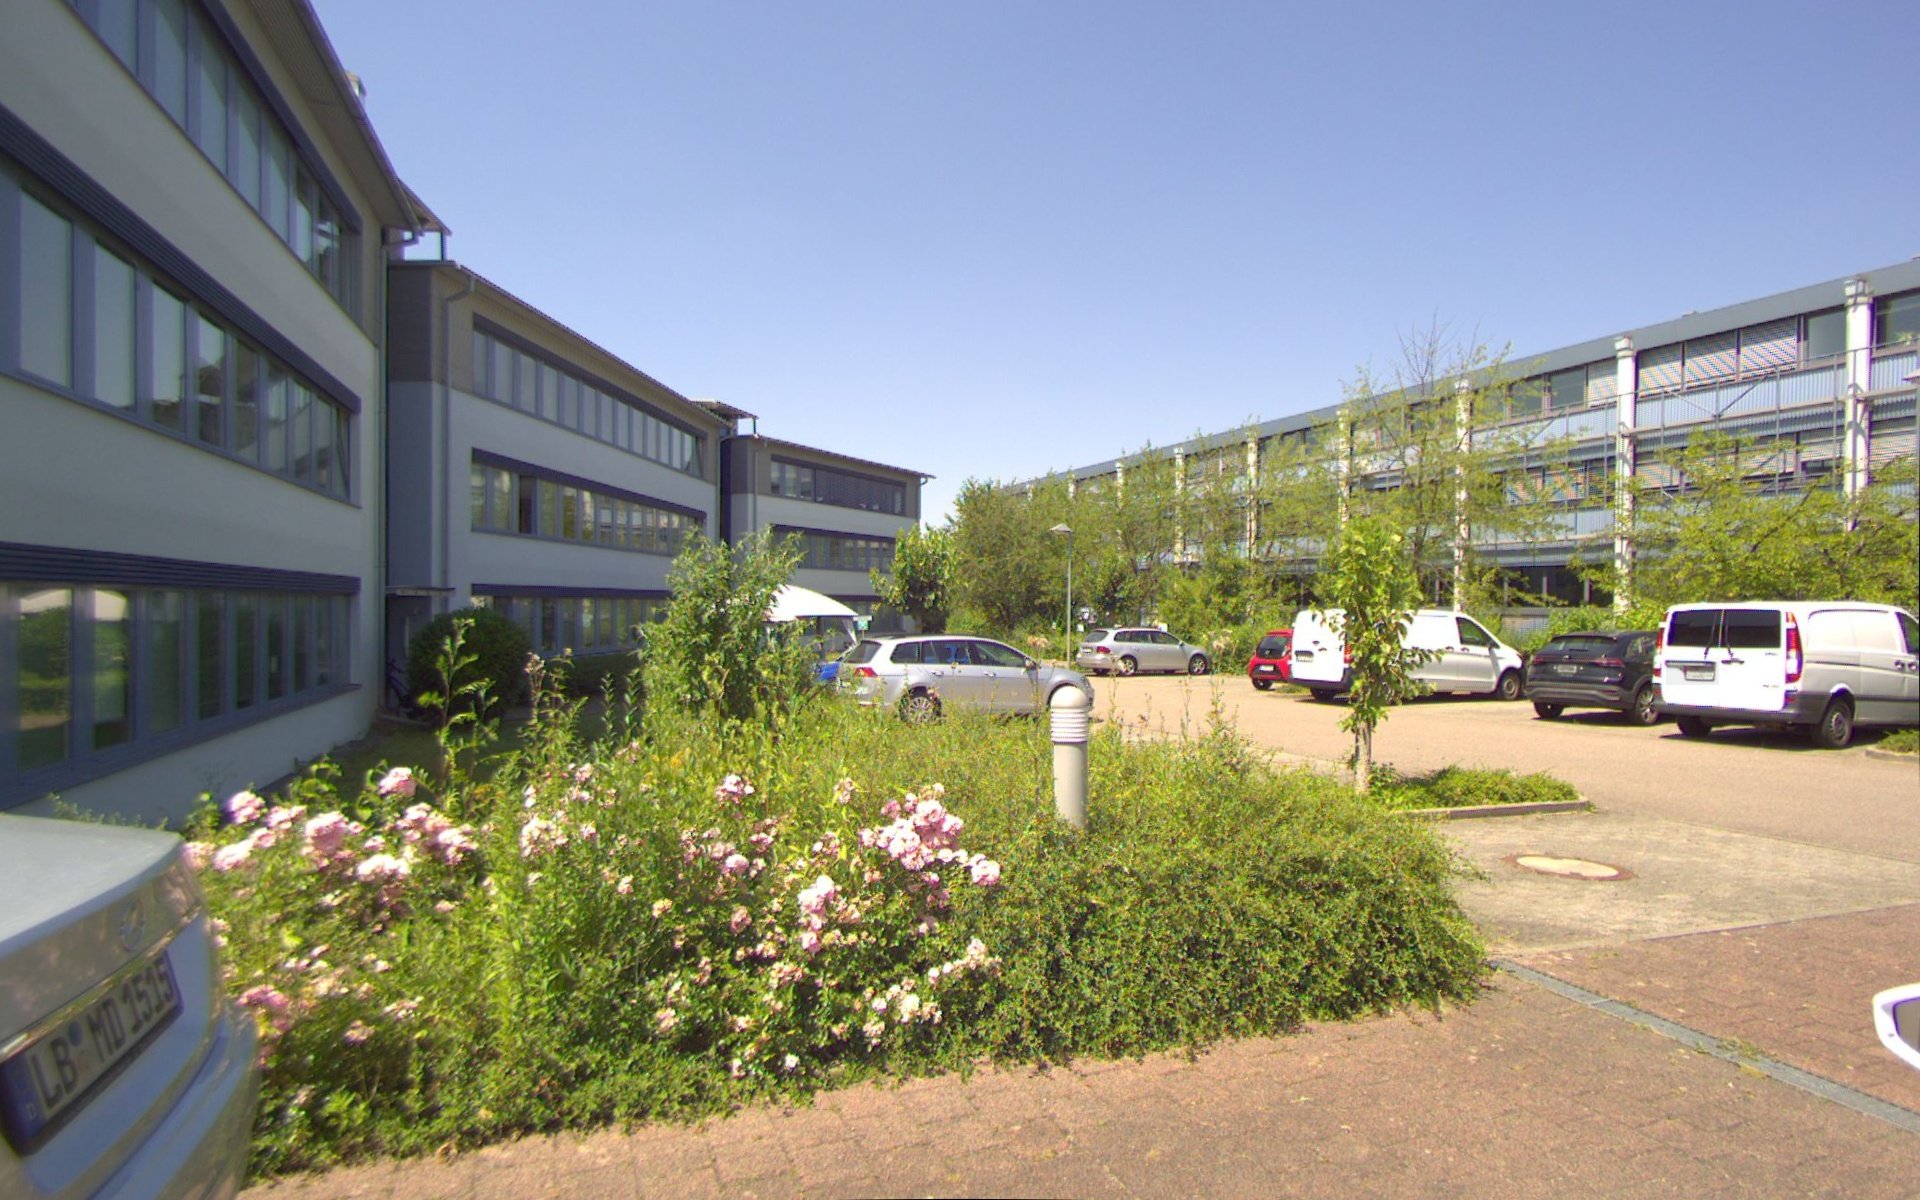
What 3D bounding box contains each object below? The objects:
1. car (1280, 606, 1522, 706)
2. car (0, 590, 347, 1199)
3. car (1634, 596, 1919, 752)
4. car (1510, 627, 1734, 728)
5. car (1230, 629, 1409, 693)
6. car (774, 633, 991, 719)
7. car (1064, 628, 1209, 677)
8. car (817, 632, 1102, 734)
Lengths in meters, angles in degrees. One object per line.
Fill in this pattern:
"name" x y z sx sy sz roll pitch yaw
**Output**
"car" 9.214 1.097 20.974 4.733 1.916 1.878 0 -1 -22
"car" -3.083 0.698 0.835 4.085 1.476 1.727 1 -2 -21
"car" 12.082 0.953 14.326 4.742 1.930 1.908 0 -1 -25
"car" 11.305 1.234 17.107 3.956 1.496 1.744 0 -1 -33
"car" 8.767 1.451 24.553 3.940 1.460 1.780 1 -1 -21
"car" -1.577 1.443 20.051 3.940 1.481 1.991 0 -1 -21
"car" 5.486 1.609 31.347 4.108 1.425 1.864 1 -1 -21
"car" 0.005 1.301 16.778 4.421 1.492 1.852 1 -1 -24
